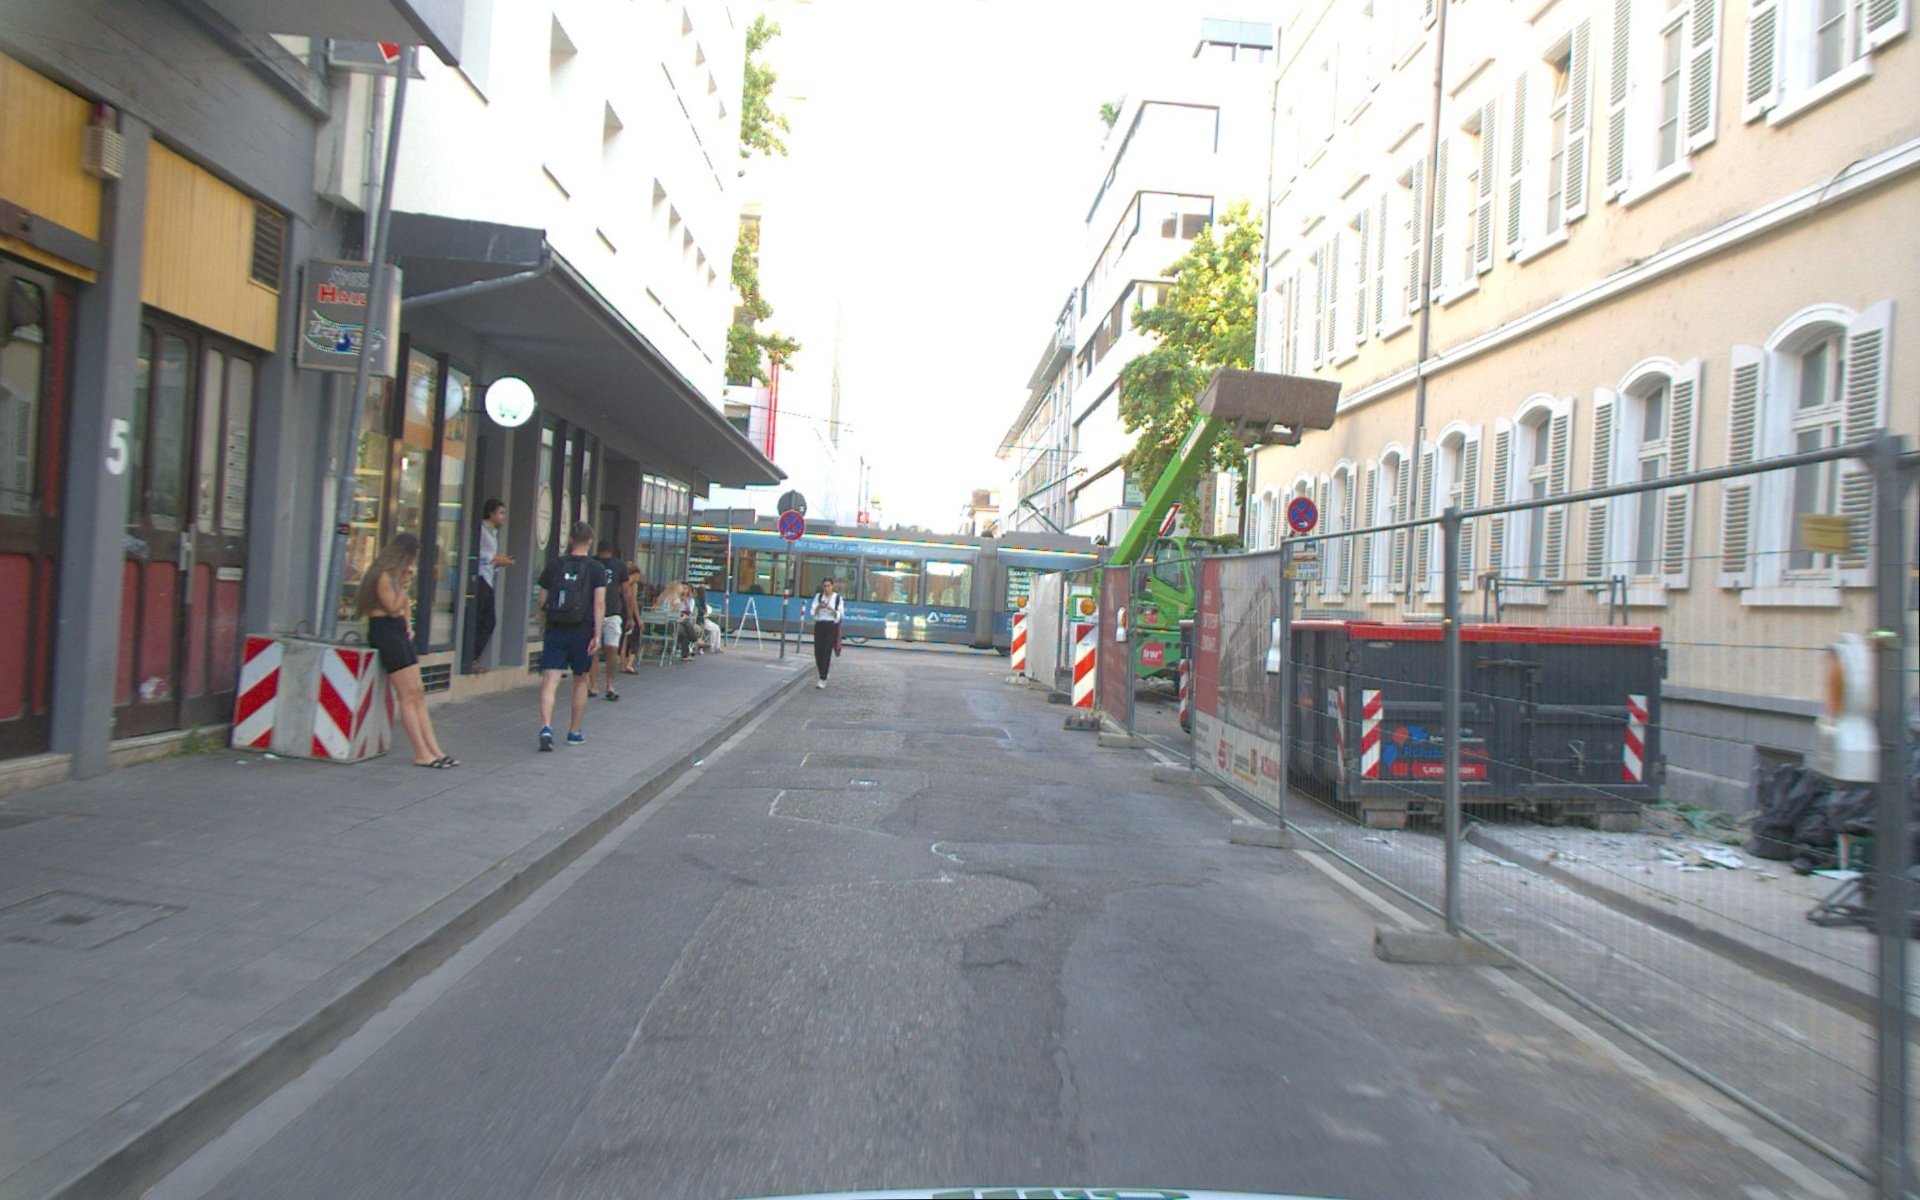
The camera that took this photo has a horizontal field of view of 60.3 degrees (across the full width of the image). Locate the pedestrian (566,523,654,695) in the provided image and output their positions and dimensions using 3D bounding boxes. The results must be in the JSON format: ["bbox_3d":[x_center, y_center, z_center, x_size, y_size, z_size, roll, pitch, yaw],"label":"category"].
[{"bbox_3d":[-3.868,0.099,18.348,0.690,1.813,0.932,4,0,-2],"label":"pedestrian"}]

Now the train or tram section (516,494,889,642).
[{"bbox_3d":[-7.246,-0.863,47.811,10.160,3.585,3.016,3,-1,-2],"label":"train or tram section"}]

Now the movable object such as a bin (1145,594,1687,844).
[{"bbox_3d":[3.836,0.883,16.007,2.833,1.693,7.289,2,1,-3],"label":"movable object such as a bin"}]

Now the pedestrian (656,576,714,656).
[{"bbox_3d":[-4.740,0.271,28.498,0.695,1.308,0.854,4,0,-26],"label":"pedestrian"}]

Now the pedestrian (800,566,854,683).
[{"bbox_3d":[-2.061,0.375,25.646,0.741,1.770,0.784,1,0,0],"label":"pedestrian"}]

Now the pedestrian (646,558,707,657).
[{"bbox_3d":[-4.706,0.119,27.497,0.689,1.574,0.861,4,0,6],"label":"pedestrian"}]

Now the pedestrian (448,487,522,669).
[{"bbox_3d":[-4.943,-0.225,17.242,0.533,1.842,0.613,2,0,-2],"label":"pedestrian"}]

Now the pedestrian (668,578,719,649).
[{"bbox_3d":[-4.900,0.250,30.424,0.690,1.216,0.691,6,0,1],"label":"pedestrian"}]

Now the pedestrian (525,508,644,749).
[{"bbox_3d":[-3.003,0.221,13.297,0.700,1.842,0.932,2,0,-2],"label":"pedestrian"}]

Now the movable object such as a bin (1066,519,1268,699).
[{"bbox_3d":[3.669,0.134,30.591,2.583,2.922,5.560,2,0,-4],"label":"movable object such as a bin"}]

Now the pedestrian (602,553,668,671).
[{"bbox_3d":[-4.576,0.166,23.283,0.649,1.596,0.633,5,0,-28],"label":"pedestrian"}]

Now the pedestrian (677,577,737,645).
[{"bbox_3d":[-4.848,0.220,31.723,0.692,1.240,0.839,4,0,35],"label":"pedestrian"}]

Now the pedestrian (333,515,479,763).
[{"bbox_3d":[-3.801,0.263,11.392,0.695,1.605,0.612,5,0,-5],"label":"pedestrian"}]

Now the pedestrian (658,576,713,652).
[{"bbox_3d":[-4.904,0.242,29.558,0.690,1.261,0.778,7,0,1],"label":"pedestrian"}]

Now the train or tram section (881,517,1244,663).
[{"bbox_3d":[2.870,-0.265,48.263,10.130,3.585,3.025,3,-1,-3],"label":"train or tram section"}]

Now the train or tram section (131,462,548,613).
[{"bbox_3d":[-17.575,-1.714,47.418,10.592,3.585,3.012,3,-1,-2],"label":"train or tram section"}]
